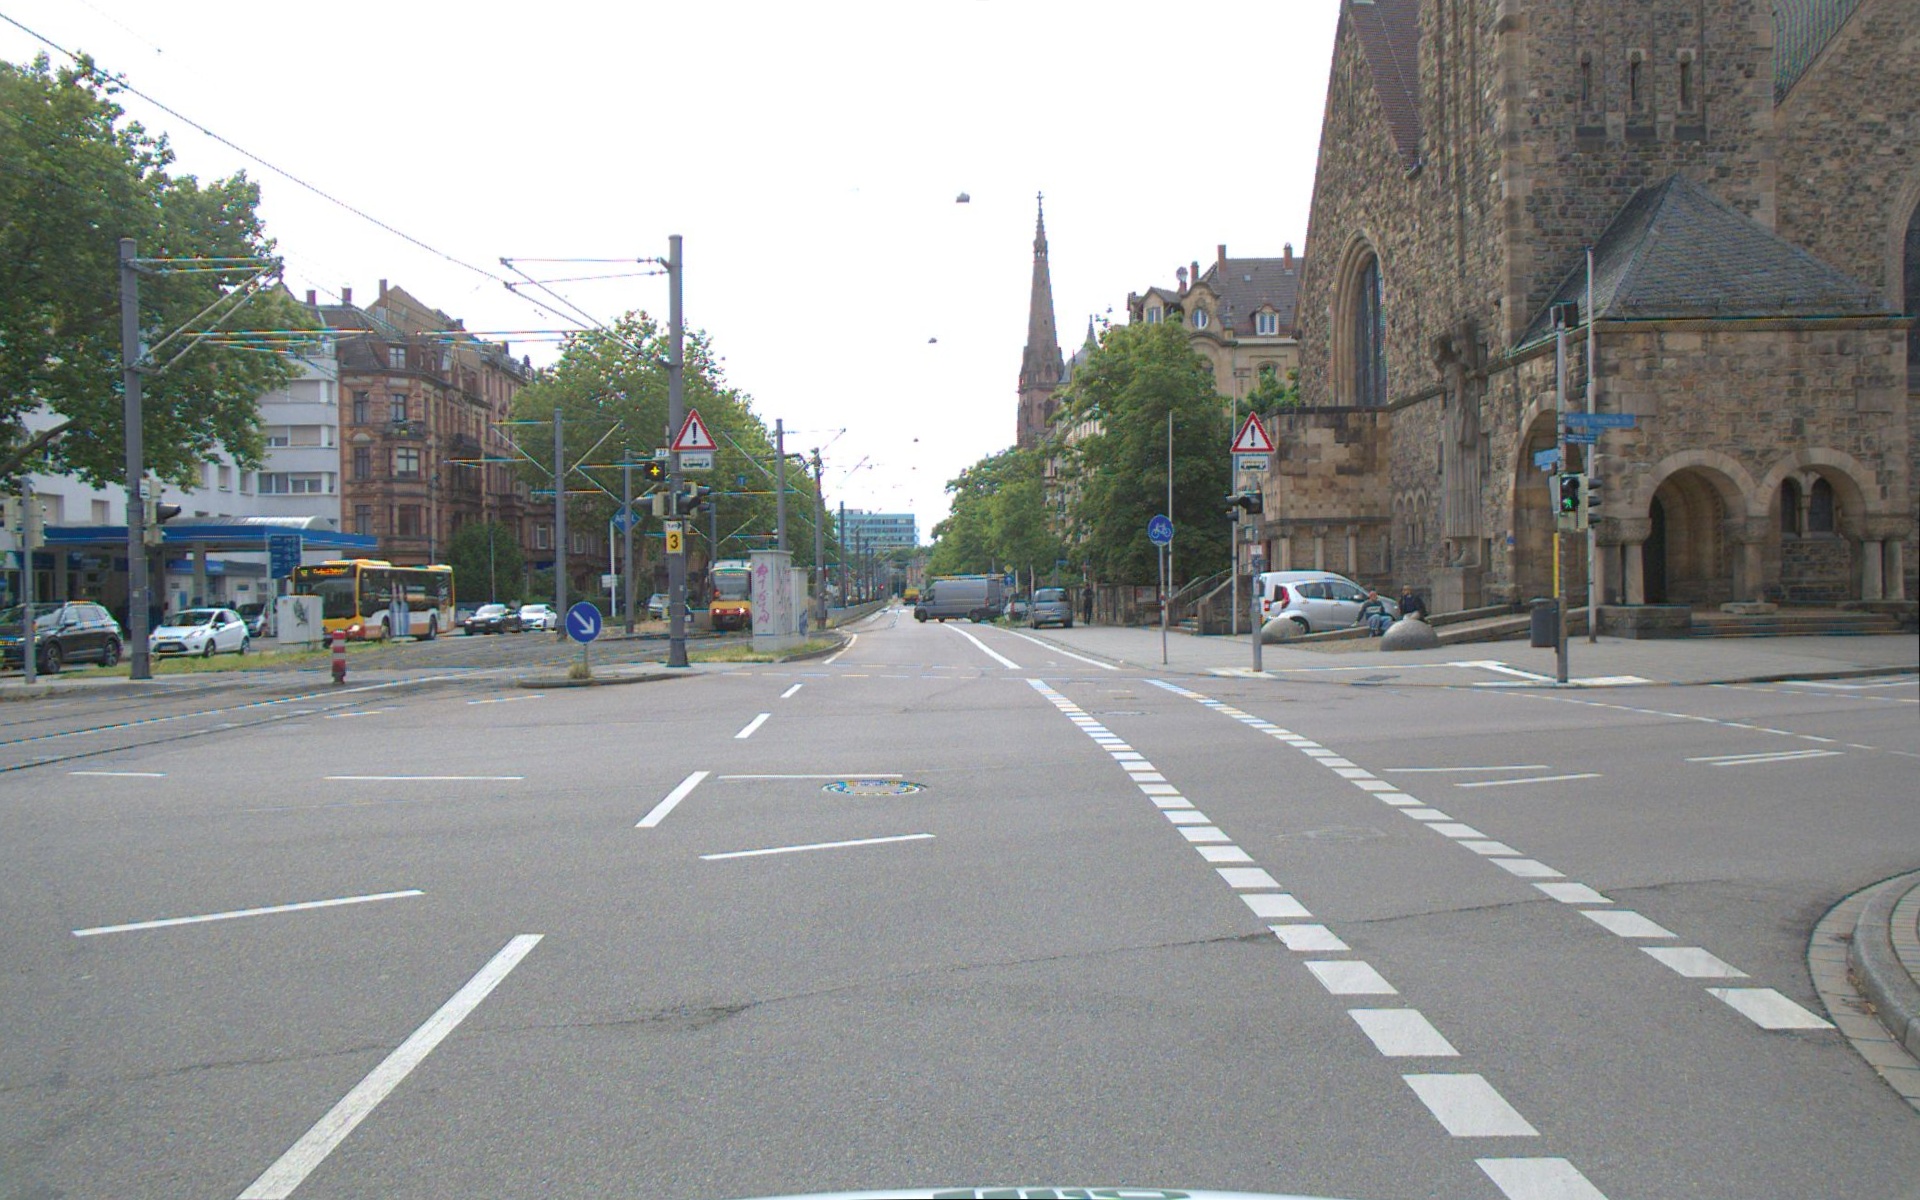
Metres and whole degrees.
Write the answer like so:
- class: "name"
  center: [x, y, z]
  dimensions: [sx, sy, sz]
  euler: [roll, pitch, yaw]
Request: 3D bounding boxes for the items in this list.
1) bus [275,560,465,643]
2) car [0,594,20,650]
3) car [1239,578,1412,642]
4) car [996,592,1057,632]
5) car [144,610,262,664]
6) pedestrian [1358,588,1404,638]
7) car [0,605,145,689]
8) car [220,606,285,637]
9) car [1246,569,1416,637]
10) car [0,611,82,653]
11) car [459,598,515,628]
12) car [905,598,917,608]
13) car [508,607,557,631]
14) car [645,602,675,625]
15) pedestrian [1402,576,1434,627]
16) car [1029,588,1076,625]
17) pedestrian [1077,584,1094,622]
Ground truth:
- class: "bus"
  center: [-22.697, 0.014, 64.609]
  dimensions: [3.215, 2.906, 12.377]
  euler: [0, 0, -1]
- class: "car"
  center: [-35.825, 0.833, 59.360]
  dimensions: [1.953, 2.049, 3.999]
  euler: [-1, 0, -2]
- class: "car"
  center: [9.776, 0.265, 44.410]
  dimensions: [4.261, 1.665, 1.662]
  euler: [0, 0, -2]
- class: "car"
  center: [3.143, 0.548, 79.662]
  dimensions: [2.160, 1.776, 5.027]
  euler: [-1, 0, -7]
- class: "car"
  center: [-21.771, 1.038, 47.701]
  dimensions: [1.668, 1.422, 3.889]
  euler: [0, 0, -1]
- class: "pedestrian"
  center: [10.434, 0.314, 40.989]
  dimensions: [0.722, 1.212, 1.493]
  euler: [0, 0, -2]
- class: "car"
  center: [-21.483, 1.049, 39.423]
  dimensions: [1.668, 1.814, 5.148]
  euler: [0, 0, -1]
- class: "car"
  center: [-33.232, 0.984, 77.748]
  dimensions: [1.668, 1.382, 3.403]
  euler: [0, 0, -1]
- class: "car"
  center: [10.690, 0.082, 47.845]
  dimensions: [4.518, 1.914, 1.662]
  euler: [0, 0, -2]
- class: "car"
  center: [-33.112, 1.122, 59.161]
  dimensions: [1.668, 1.382, 3.403]
  euler: [0, 0, -1]
- class: "car"
  center: [-22.916, 0.628, 80.279]
  dimensions: [1.668, 1.382, 3.889]
  euler: [0, 0, -1]
- class: "car"
  center: [-7.592, 0.462, 256.584]
  dimensions: [1.768, 1.364, 3.998]
  euler: [-1, 0, -3]
- class: "car"
  center: [-22.732, 1.001, 88.044]
  dimensions: [1.668, 1.242, 3.889]
  euler: [0, 0, -1]
- class: "car"
  center: [-23.203, 1.006, 127.829]
  dimensions: [1.668, 1.742, 3.889]
  euler: [0, 0, -1]
- class: "pedestrian"
  center: [11.396, 0.035, 41.189]
  dimensions: [0.721, 1.250, 1.063]
  euler: [0, 0, 13]
- class: "car"
  center: [3.867, 0.252, 69.511]
  dimensions: [1.668, 1.484, 3.889]
  euler: [0, 0, -1]
- class: "pedestrian"
  center: [5.501, 0.137, 72.508]
  dimensions: [0.760, 1.676, 0.799]
  euler: [0, 0, 4]
